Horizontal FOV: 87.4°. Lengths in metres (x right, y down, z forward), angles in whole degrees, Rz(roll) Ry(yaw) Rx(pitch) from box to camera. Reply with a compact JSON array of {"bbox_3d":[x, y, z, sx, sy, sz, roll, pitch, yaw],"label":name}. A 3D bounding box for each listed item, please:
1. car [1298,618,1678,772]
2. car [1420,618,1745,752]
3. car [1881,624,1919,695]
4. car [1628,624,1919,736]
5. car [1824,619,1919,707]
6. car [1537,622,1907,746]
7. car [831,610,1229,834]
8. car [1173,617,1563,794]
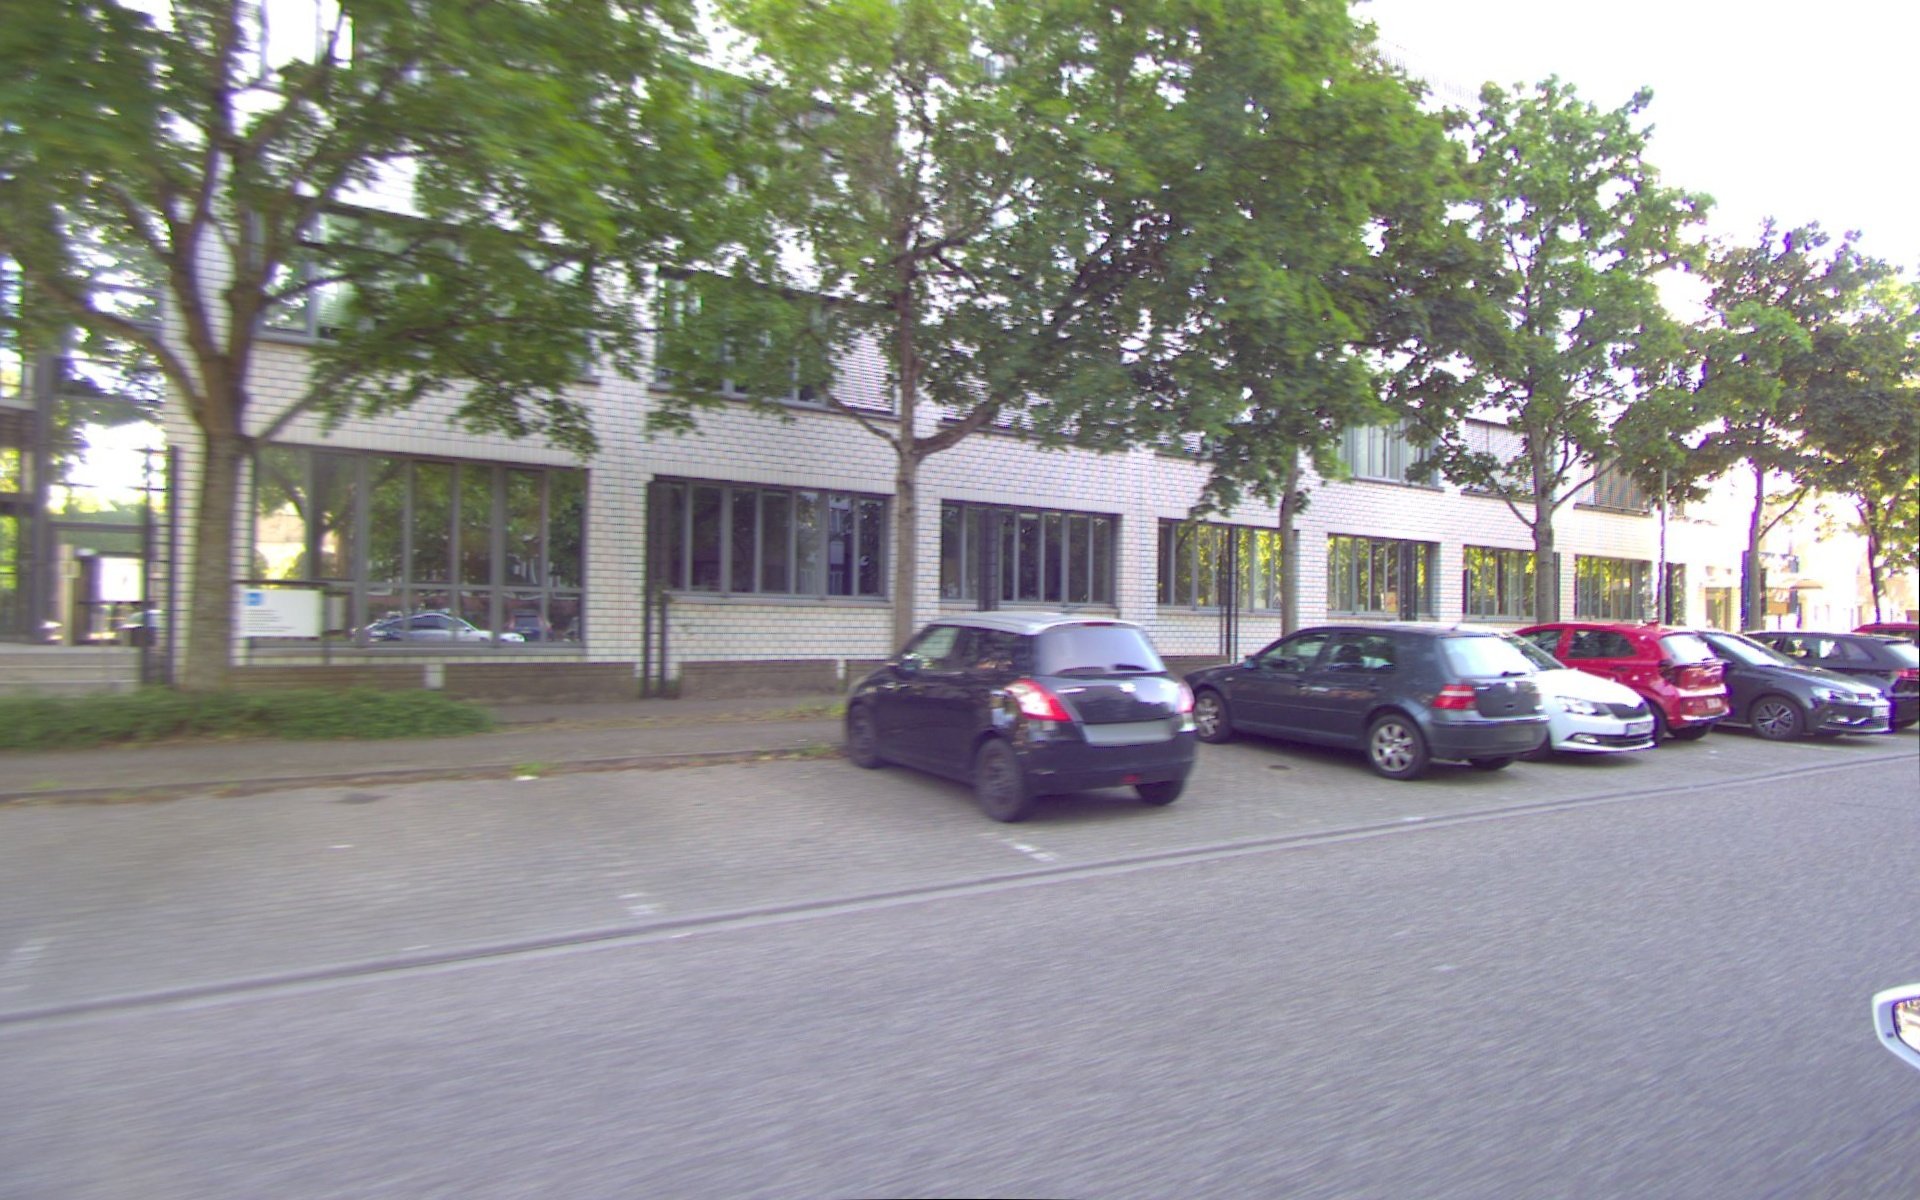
[{"bbox_3d":[6.322,1.015,12.454,1.735,1.476,3.845,0,1,-32],"label":"car"},{"bbox_3d":[8.356,1.037,13.731,1.679,1.483,3.397,0,1,-34],"label":"car"},{"bbox_3d":[22.921,1.333,21.808,1.742,1.607,3.974,2,-3,-26],"label":"car"},{"bbox_3d":[13.119,1.173,15.882,1.588,1.425,3.965,2,0,-32],"label":"car"},{"bbox_3d":[19.338,1.246,19.483,1.739,1.679,3.527,3,-2,-27],"label":"car"},{"bbox_3d":[10.839,1.096,14.598,1.646,1.431,3.967,2,0,-31],"label":"car"},{"bbox_3d":[0.371,0.848,8.680,1.657,1.483,3.715,1,-1,-30],"label":"car"},{"bbox_3d":[4.198,0.985,10.926,1.611,1.464,3.746,2,0,-29],"label":"car"}]
